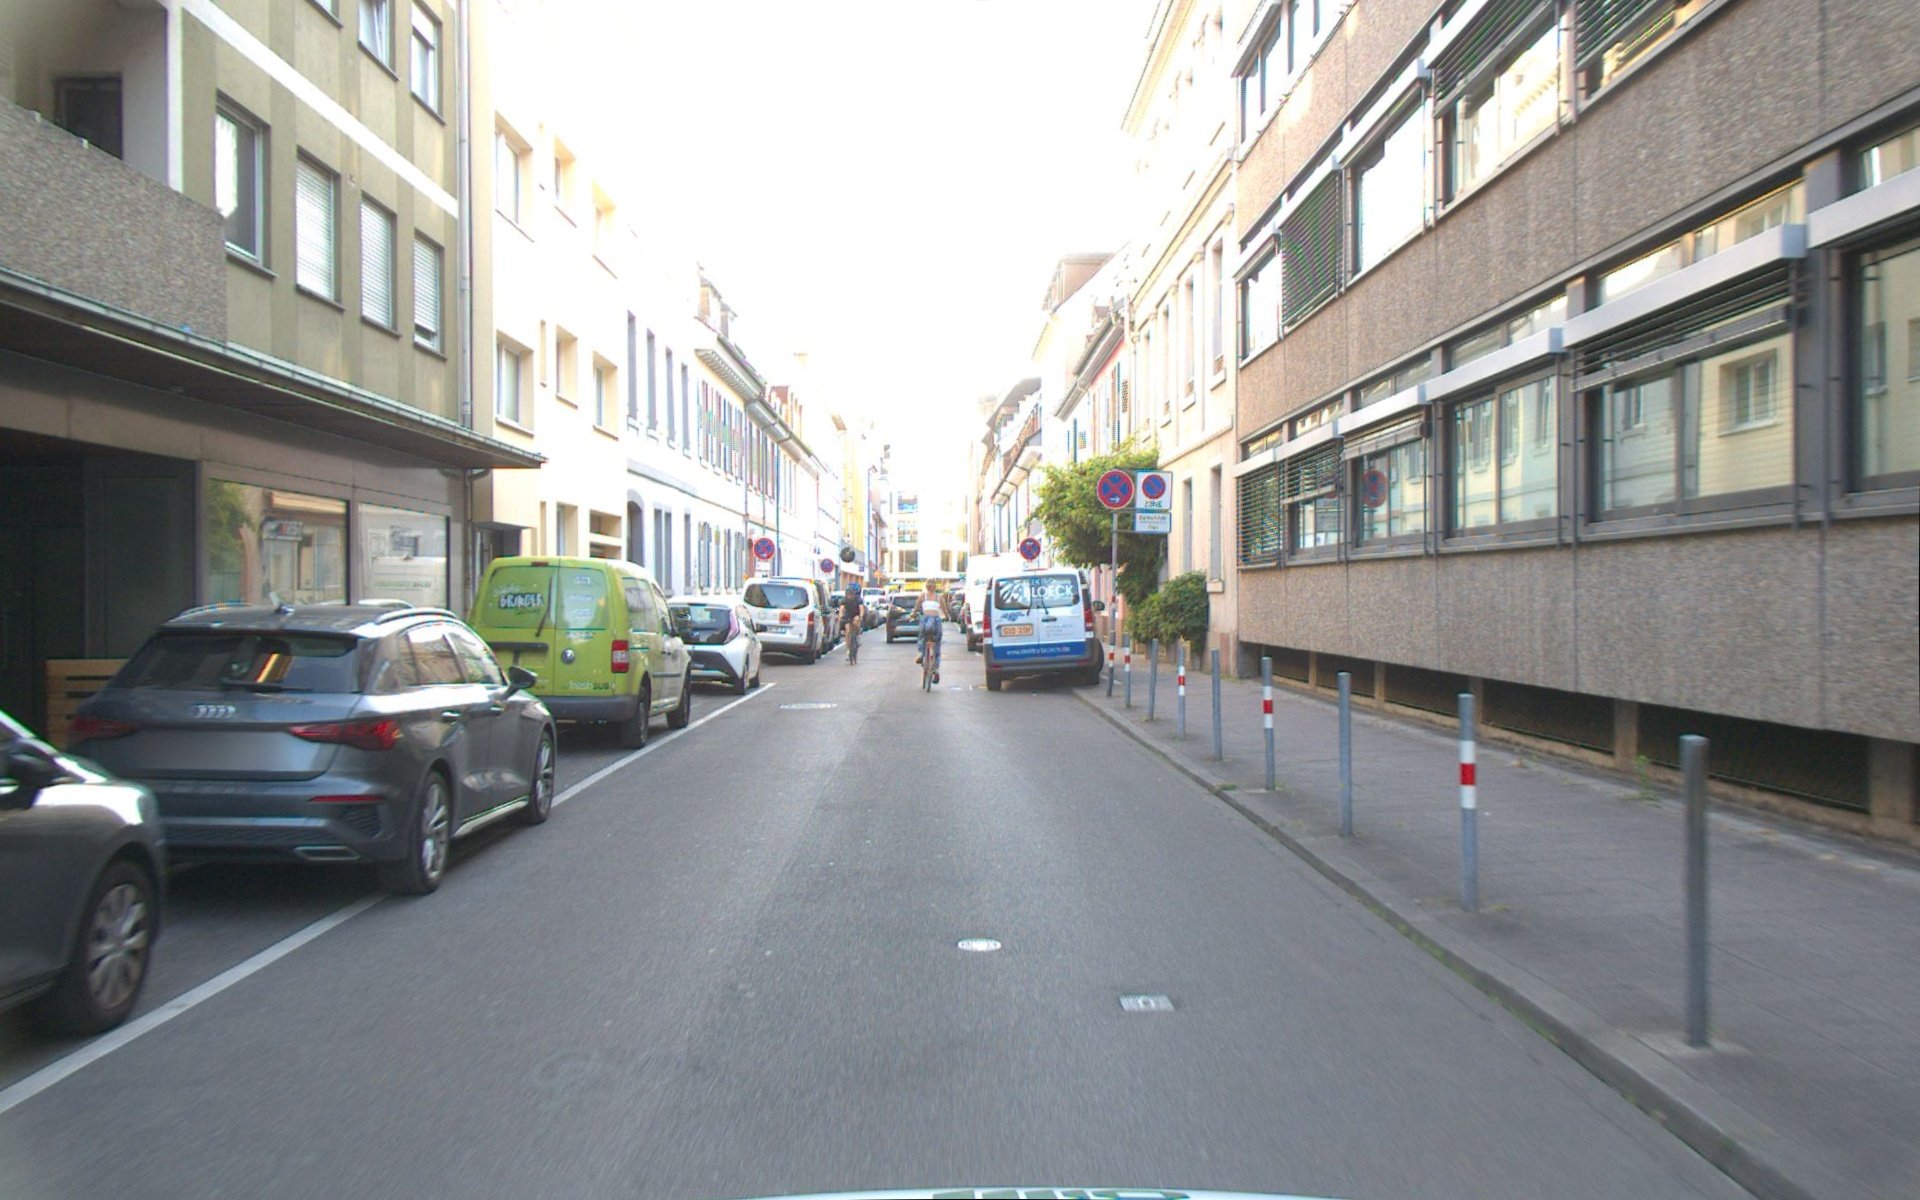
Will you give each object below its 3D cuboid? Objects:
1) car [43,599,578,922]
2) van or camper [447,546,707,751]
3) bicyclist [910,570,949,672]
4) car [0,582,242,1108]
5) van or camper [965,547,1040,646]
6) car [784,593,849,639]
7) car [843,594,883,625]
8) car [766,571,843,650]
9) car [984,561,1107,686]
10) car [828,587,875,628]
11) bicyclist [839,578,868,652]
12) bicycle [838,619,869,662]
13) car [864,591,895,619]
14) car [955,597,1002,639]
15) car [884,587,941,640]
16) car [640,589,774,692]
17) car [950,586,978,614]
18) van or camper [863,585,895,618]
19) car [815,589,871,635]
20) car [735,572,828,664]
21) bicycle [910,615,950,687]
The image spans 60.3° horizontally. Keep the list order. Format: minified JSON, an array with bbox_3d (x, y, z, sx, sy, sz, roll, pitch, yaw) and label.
[{"bbox_3d":[-3.366,0.722,9.408,1.591,1.440,3.979,0,0,-2],"label":"car"},{"bbox_3d":[-3.881,0.440,17.452,1.736,1.880,4.178,-1,0,0],"label":"van or camper"},{"bbox_3d":[-0.478,0.329,26.414,0.608,1.602,0.683,0,0,0],"label":"bicyclist"},{"bbox_3d":[-3.561,0.717,4.435,1.591,1.511,3.877,-1,0,-1],"label":"car"},{"bbox_3d":[1.171,-0.114,48.587,2.008,2.683,7.062,-1,0,0],"label":"van or camper"},{"bbox_3d":[-4.560,0.490,53.120,1.729,1.426,4.262,0,0,0],"label":"car"},{"bbox_3d":[-4.727,0.453,81.273,1.879,1.459,4.291,1,0,-2],"label":"car"},{"bbox_3d":[-4.257,0.271,45.846,1.825,2.049,4.812,-1,0,-2],"label":"car"},{"bbox_3d":[1.432,0.355,28.585,1.896,1.931,5.278,-1,0,2],"label":"car"},{"bbox_3d":[-4.898,0.324,74.877,1.957,1.737,4.534,1,0,-2],"label":"car"},{"bbox_3d":[-2.441,0.335,37.966,0.610,1.668,1.081,0,0,-1],"label":"bicyclist"},{"bbox_3d":[-2.437,0.914,37.933,0.621,0.938,1.779,0,0,0],"label":"bicycle"},{"bbox_3d":[-4.746,0.301,97.897,1.619,1.588,3.605,1,0,-1],"label":"car"},{"bbox_3d":[0.755,0.698,68.513,1.782,1.556,5.071,-4,0,1],"label":"car"},{"bbox_3d":[-1.532,0.419,54.068,1.782,1.646,3.999,1,0,-1],"label":"car"},{"bbox_3d":[-4.025,0.613,26.813,1.628,1.474,3.520,3,0,-1],"label":"car"},{"bbox_3d":[0.220,0.014,98.082,1.619,1.588,3.605,1,0,-1],"label":"car"},{"bbox_3d":[-5.044,0.082,103.740,1.806,2.048,4.677,1,0,-1],"label":"van or camper"},{"bbox_3d":[-4.479,0.434,63.732,1.765,1.706,4.490,-1,0,1],"label":"car"},{"bbox_3d":[-4.204,0.396,39.669,1.825,2.049,5.104,-1,0,-2],"label":"car"},{"bbox_3d":[-0.473,0.796,26.416,0.601,1.101,1.809,0,0,0],"label":"bicycle"}]
